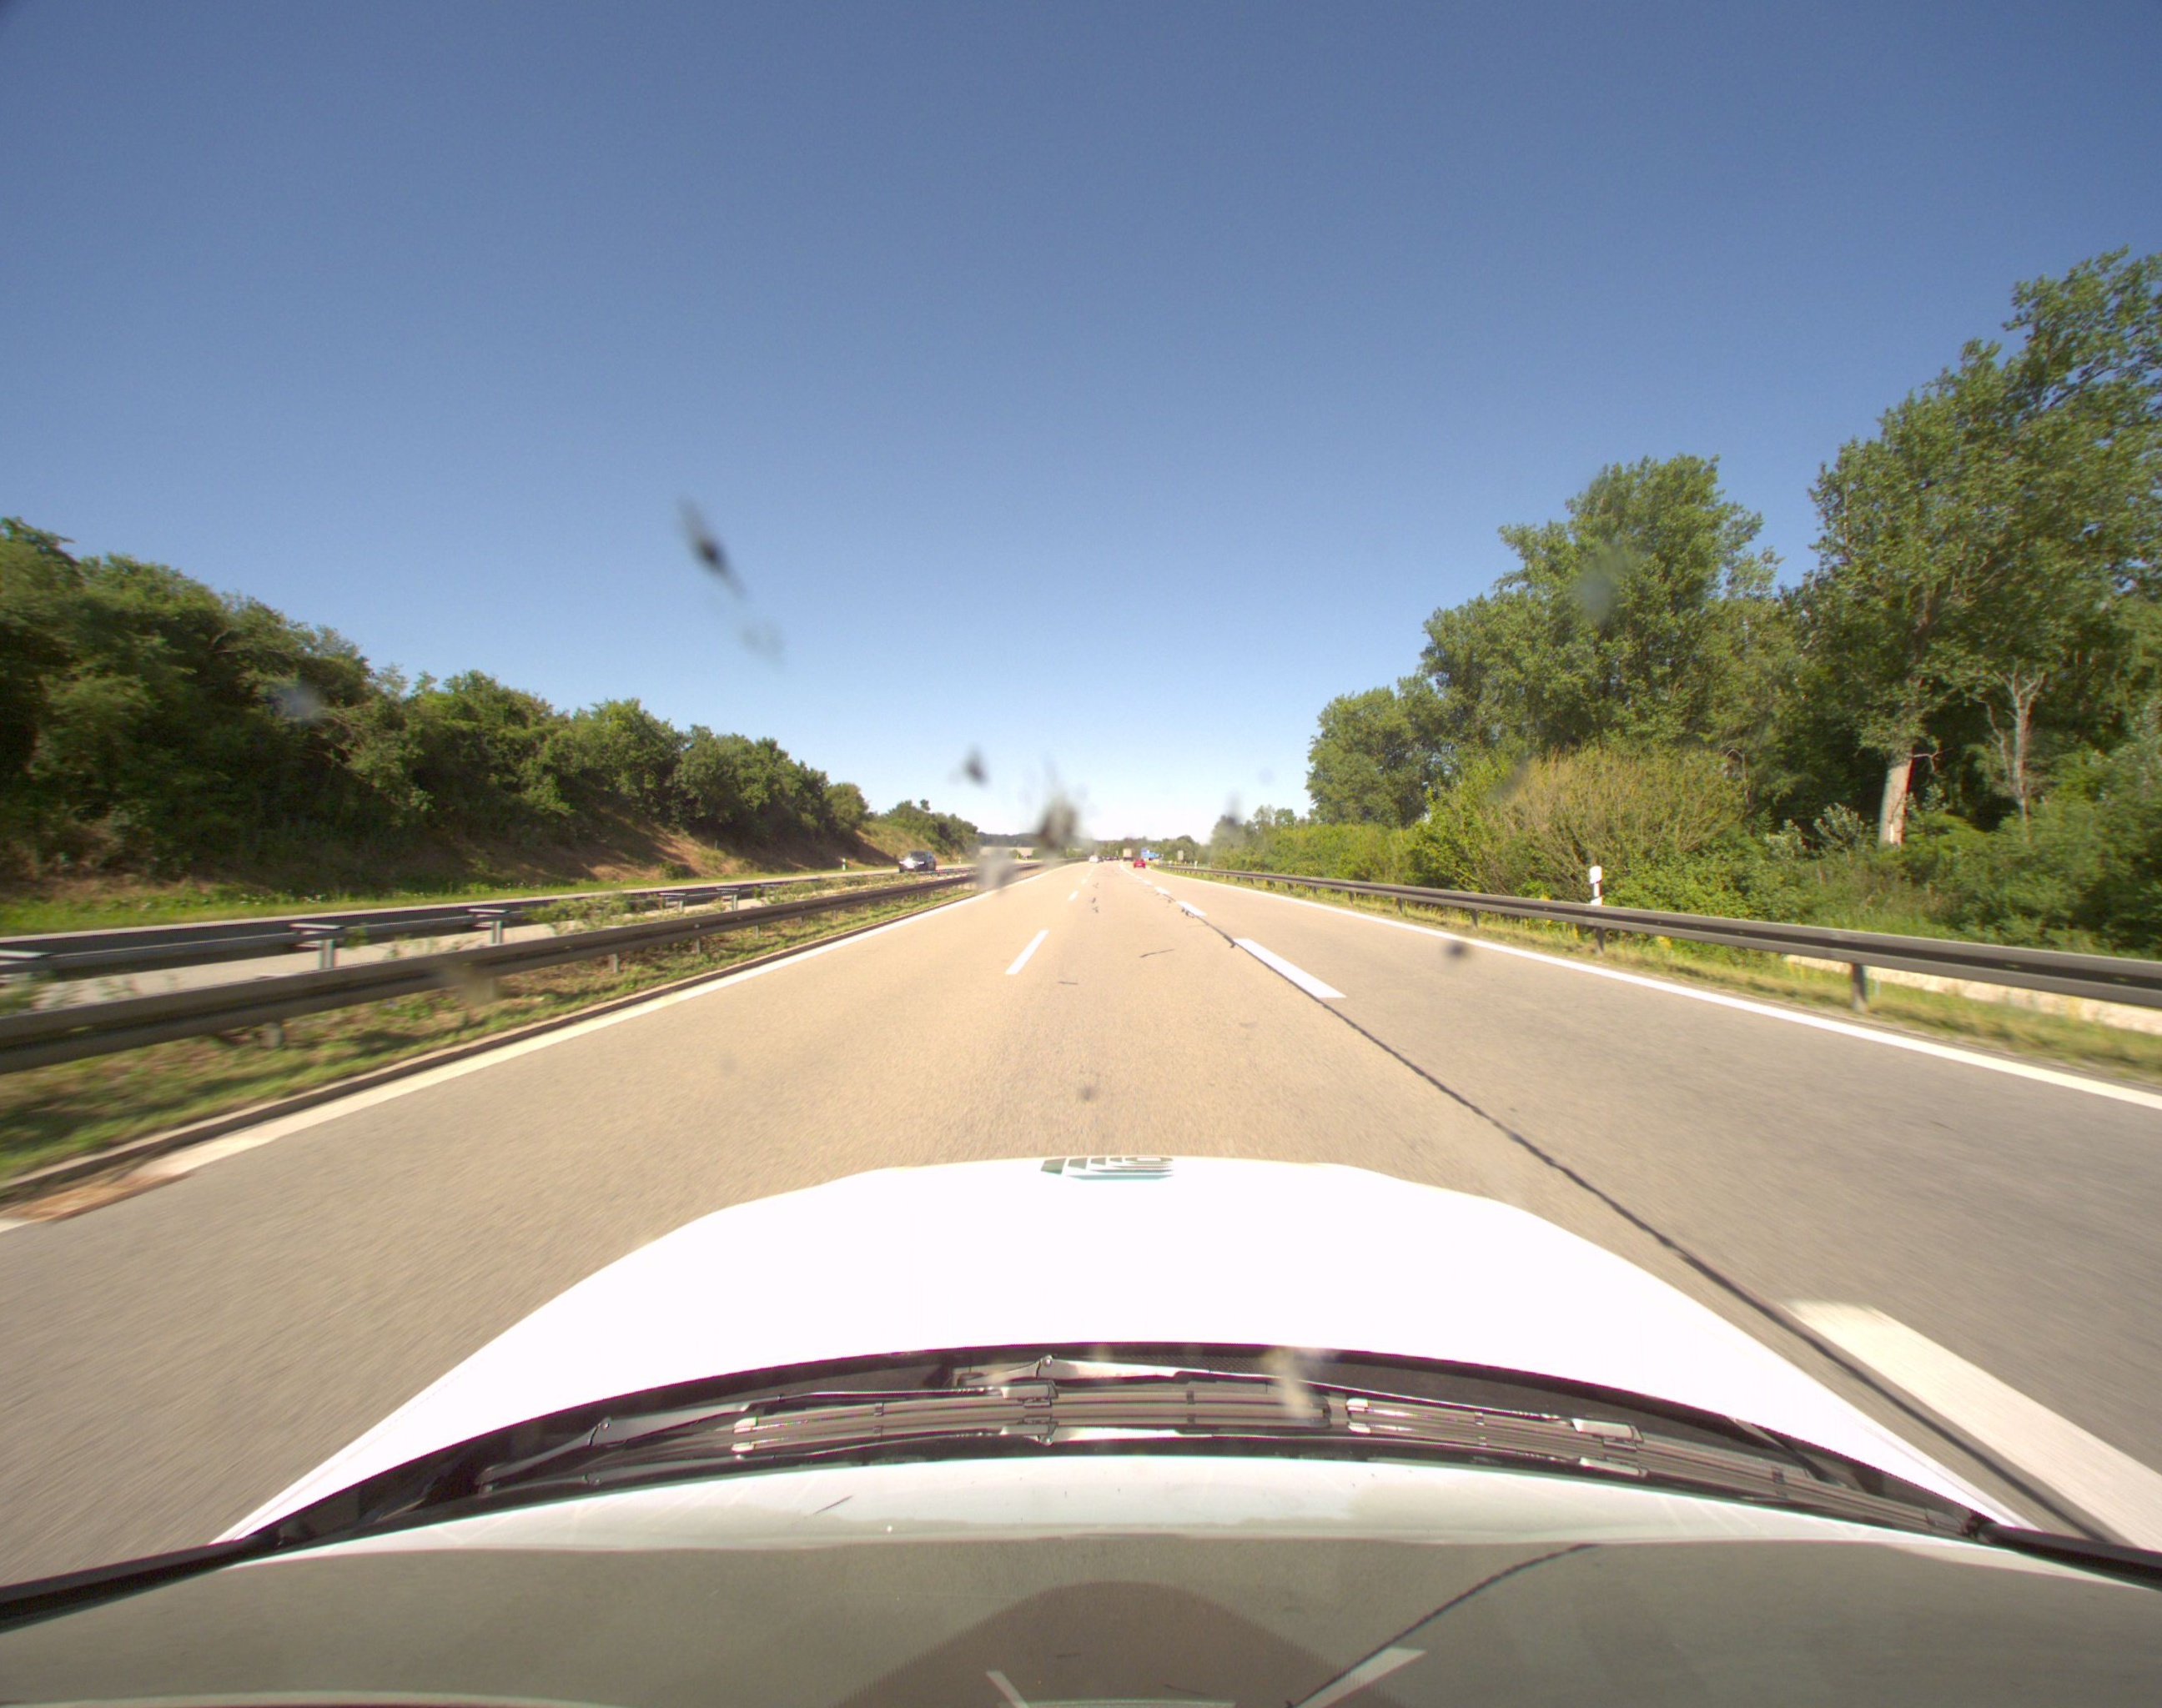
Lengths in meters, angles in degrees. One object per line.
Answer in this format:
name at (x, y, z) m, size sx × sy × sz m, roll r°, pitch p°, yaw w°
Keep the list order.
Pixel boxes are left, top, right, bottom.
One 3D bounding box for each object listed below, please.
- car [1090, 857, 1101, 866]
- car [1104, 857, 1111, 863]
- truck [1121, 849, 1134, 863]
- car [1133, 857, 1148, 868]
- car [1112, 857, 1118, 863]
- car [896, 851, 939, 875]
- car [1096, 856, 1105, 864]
car at (2.936, 1.577, 165.486) m, size 2.054 × 1.625 × 4.001 m, roll 0°, pitch -3°, yaw 2°
car at (7.293, 1.634, 227.110) m, size 1.986 × 1.750 × 4.001 m, roll 1°, pitch 0°, yaw 1°
truck at (14.289, 0.627, 249.970) m, size 3.820 × 4.397 × 11.485 m, roll 0°, pitch 0°, yaw 4°
car at (9.000, 1.330, 122.696) m, size 1.774 × 1.431 × 4.009 m, roll 3°, pitch -1°, yaw 8°
car at (10.689, 1.843, 256.741) m, size 1.985 × 1.750 × 4.004 m, roll 1°, pitch 0°, yaw 4°
car at (-12.016, 0.656, 60.063) m, size 1.986 × 1.645 × 5.085 m, roll 0°, pitch -1°, yaw 2°
car at (4.353, 1.348, 184.707) m, size 1.986 × 1.750 × 4.001 m, roll 1°, pitch 0°, yaw 1°
